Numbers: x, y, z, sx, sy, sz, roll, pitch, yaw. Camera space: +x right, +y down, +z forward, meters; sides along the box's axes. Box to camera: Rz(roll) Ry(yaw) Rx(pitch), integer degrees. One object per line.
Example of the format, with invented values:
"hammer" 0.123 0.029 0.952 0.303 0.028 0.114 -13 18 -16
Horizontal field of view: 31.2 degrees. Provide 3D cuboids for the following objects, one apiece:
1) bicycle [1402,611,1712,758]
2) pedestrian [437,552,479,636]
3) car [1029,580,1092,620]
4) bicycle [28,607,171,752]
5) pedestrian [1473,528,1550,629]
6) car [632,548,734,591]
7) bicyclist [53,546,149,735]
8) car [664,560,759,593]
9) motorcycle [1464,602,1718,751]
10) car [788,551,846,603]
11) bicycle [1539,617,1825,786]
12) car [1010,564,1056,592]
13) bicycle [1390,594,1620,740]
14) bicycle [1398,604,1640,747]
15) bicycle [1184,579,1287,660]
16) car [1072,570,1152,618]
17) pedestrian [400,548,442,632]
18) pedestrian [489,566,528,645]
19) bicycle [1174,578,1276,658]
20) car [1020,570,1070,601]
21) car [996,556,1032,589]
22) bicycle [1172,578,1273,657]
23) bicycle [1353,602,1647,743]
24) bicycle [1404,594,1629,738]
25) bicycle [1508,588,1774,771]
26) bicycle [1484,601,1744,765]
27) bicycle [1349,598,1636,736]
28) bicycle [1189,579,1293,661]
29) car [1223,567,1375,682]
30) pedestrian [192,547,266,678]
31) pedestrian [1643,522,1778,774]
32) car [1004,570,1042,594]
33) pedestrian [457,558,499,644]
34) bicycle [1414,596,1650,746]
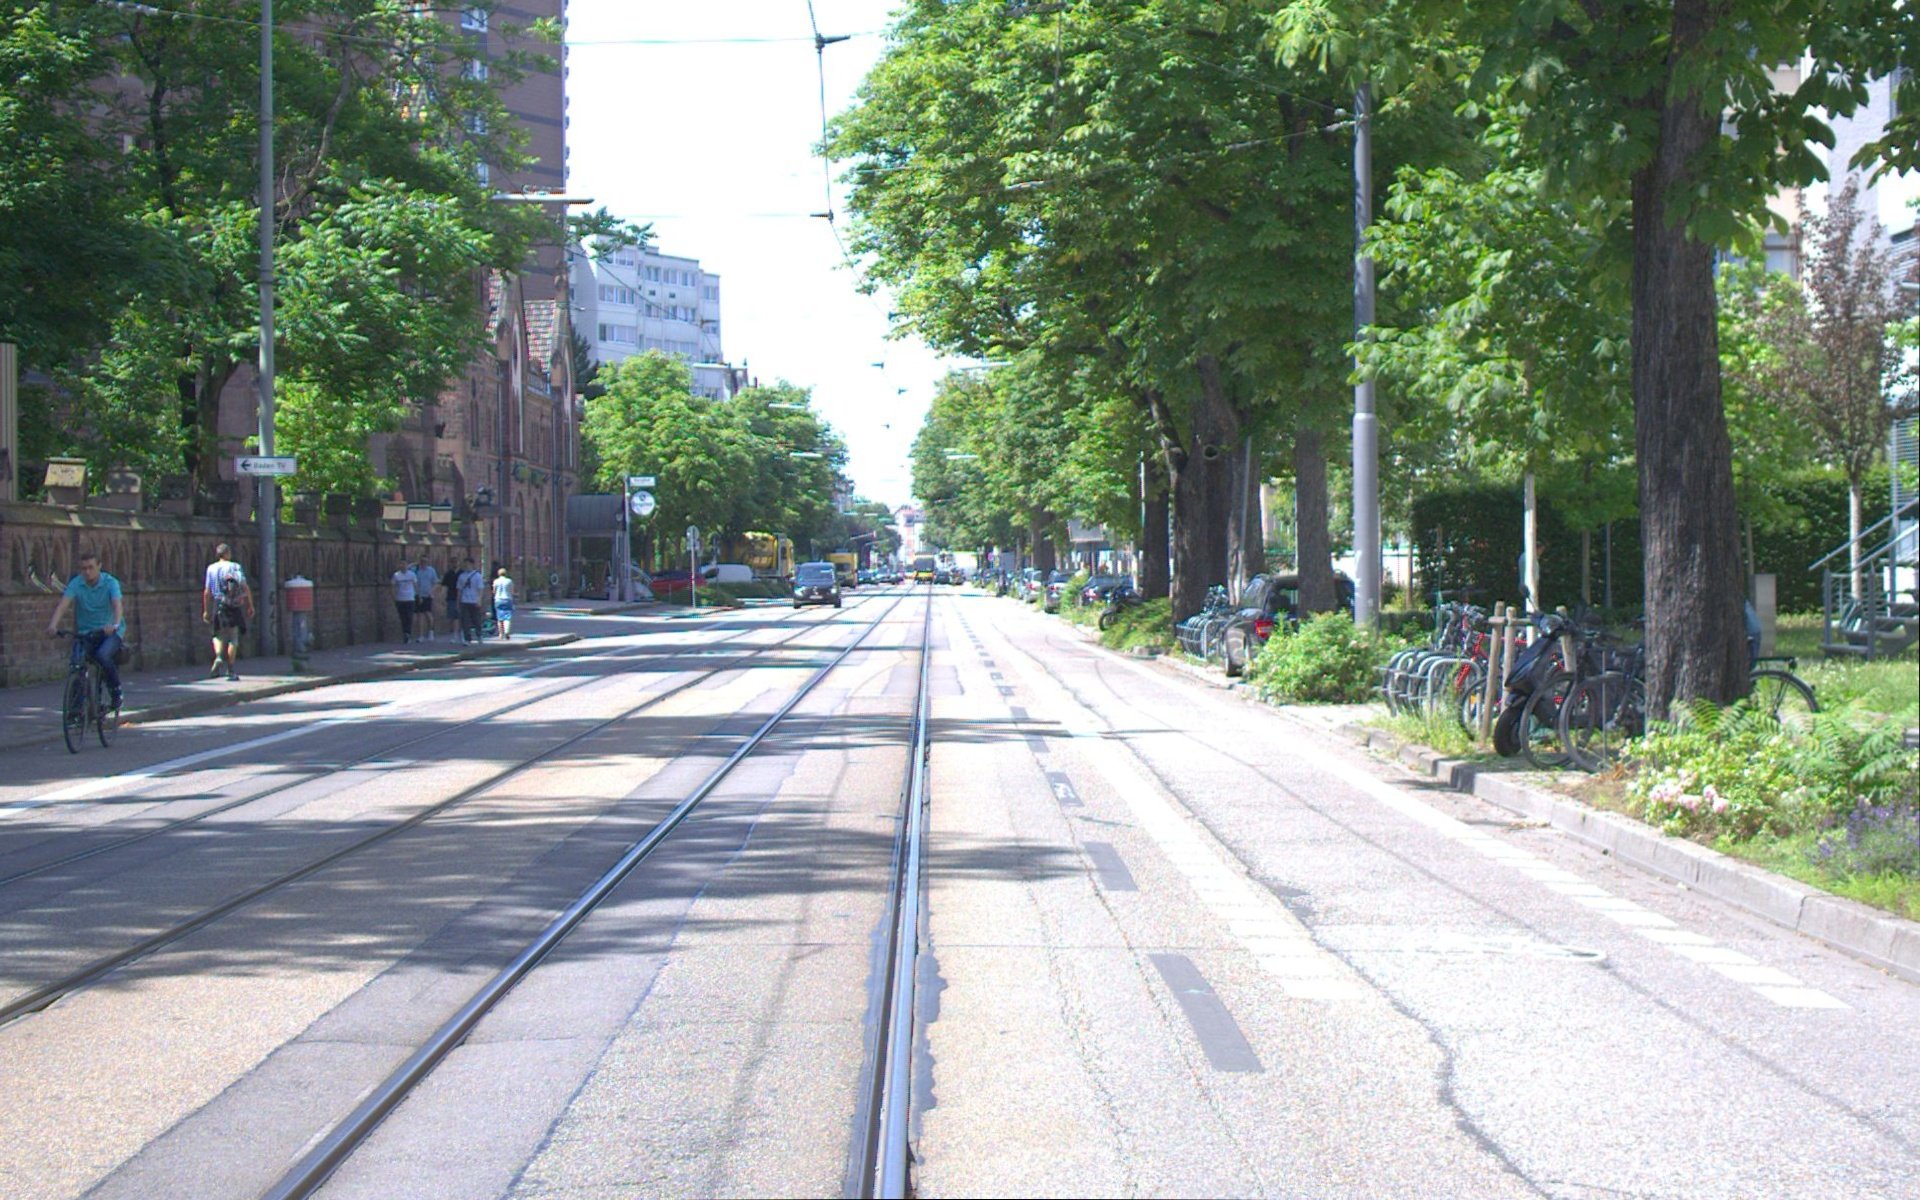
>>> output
"bicycle" 5.012 0.708 28.950 2.511 1.205 0.648 0 0 4
"pedestrian" -10.319 -0.129 70.673 0.743 1.722 0.867 0 0 -1
"car" 3.434 -0.011 117.616 1.993 1.305 4.000 0 1 -1
"bicycle" -7.699 0.686 30.856 0.701 1.200 2.240 -2 1 -1
"pedestrian" 10.042 -0.387 62.642 1.215 1.821 0.831 0 0 -4
"car" -12.349 -1.349 153.188 3.987 1.798 2.000 1 1 -32
"bicyclist" -7.717 0.356 30.903 0.642 1.674 0.815 -1 0 0
"car" -13.490 -1.291 186.574 4.728 1.711 2.000 -1 1 -27
"motorcycle" 4.817 0.576 26.284 1.824 1.106 0.598 -1 0 0
"car" -5.638 -0.911 135.628 1.993 2.007 4.000 0 1 2
"bicycle" 4.819 0.672 22.990 1.788 1.098 0.532 0 0 -2
"car" 3.409 -1.036 161.292 1.993 1.305 4.000 0 1 -1
"bicycle" 4.390 0.537 27.737 1.752 1.162 0.530 0 0 -3
"bicycle" 4.807 0.644 29.649 1.997 1.205 0.662 0 0 4
"bicycle" 4.279 0.296 53.366 1.564 1.237 0.437 0 0 1
"car" 4.233 -0.186 96.251 1.993 1.305 4.000 0 1 -1
"pedestrian" -11.089 -0.207 70.716 0.743 1.722 0.867 0 0 -1
"pedestrian" -9.924 0.110 75.594 0.743 1.722 0.867 0 0 -1
"bicycle" 4.158 0.286 53.950 1.564 1.237 0.437 0 0 1
"car" 3.656 -0.631 148.344 1.993 1.305 4.000 0 1 -1
"car" 3.150 -1.638 201.682 1.993 1.897 4.000 0 1 -1
"bicycle" 4.150 0.279 54.478 1.564 1.237 0.437 0 0 1
"bicycle" 4.746 0.634 30.332 2.511 1.205 0.622 0 0 4
"bicycle" 4.566 0.535 28.239 1.752 1.162 0.530 0 0 -3
"bicycle" 4.775 0.552 24.162 1.752 1.266 0.530 0 0 -3
"bicycle" 4.687 0.589 24.691 1.752 1.162 0.530 0 0 -3
"bicycle" 4.800 0.601 31.105 2.511 1.205 0.741 0 0 4
"bicycle" 4.313 0.309 52.863 1.564 1.237 0.437 0 0 1
"car" 4.586 0.298 46.962 1.634 1.496 4.000 0 1 -1
"pedestrian" -9.930 0.163 46.733 0.814 1.764 0.924 0 0 -1
"pedestrian" 5.188 0.321 23.758 0.583 1.709 0.796 0 1 43
"car" 3.491 -0.991 192.156 1.993 1.305 4.000 0 1 -1
"pedestrian" -9.706 0.016 69.241 0.743 1.722 0.867 0 0 -1
"bicycle" 4.495 0.551 27.053 1.752 1.162 0.530 0 0 -3
